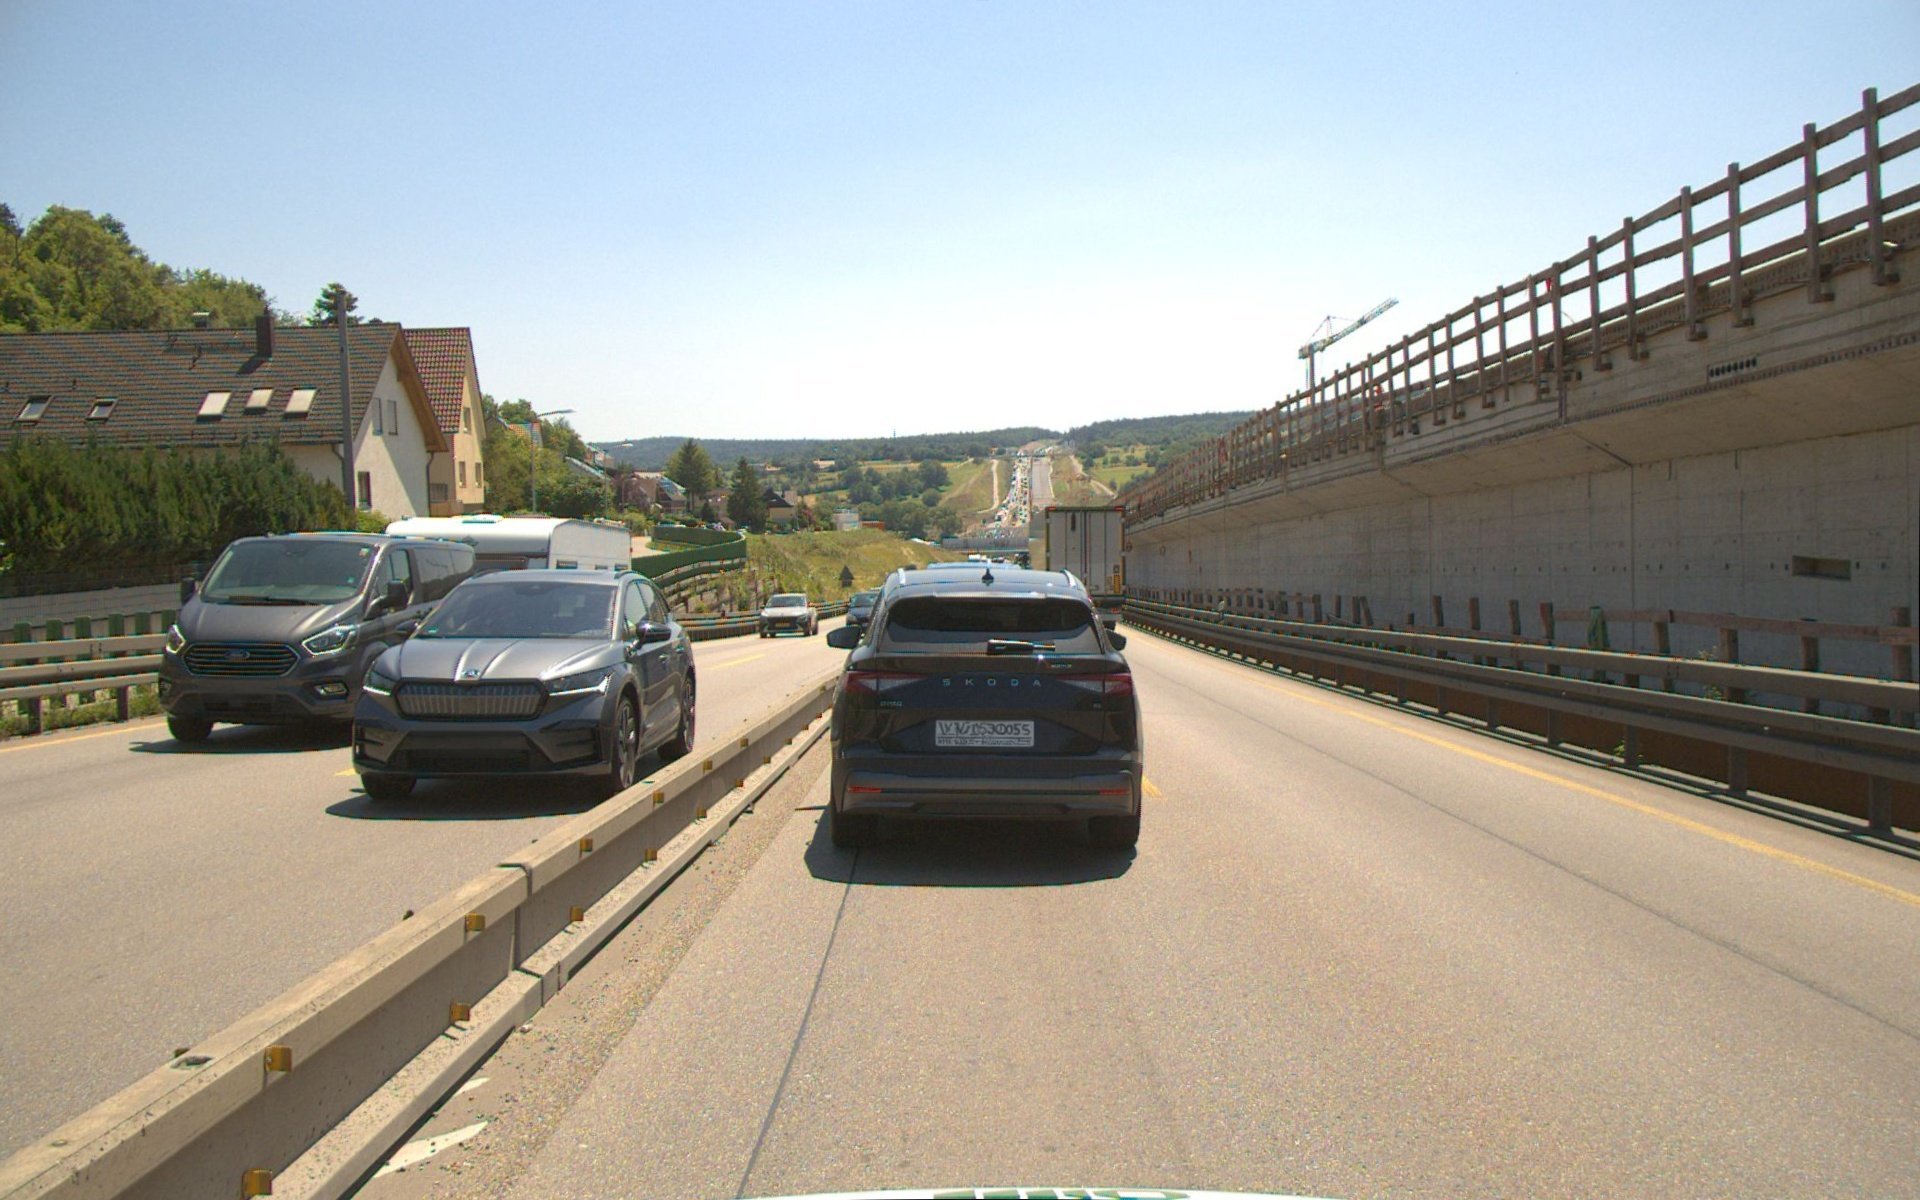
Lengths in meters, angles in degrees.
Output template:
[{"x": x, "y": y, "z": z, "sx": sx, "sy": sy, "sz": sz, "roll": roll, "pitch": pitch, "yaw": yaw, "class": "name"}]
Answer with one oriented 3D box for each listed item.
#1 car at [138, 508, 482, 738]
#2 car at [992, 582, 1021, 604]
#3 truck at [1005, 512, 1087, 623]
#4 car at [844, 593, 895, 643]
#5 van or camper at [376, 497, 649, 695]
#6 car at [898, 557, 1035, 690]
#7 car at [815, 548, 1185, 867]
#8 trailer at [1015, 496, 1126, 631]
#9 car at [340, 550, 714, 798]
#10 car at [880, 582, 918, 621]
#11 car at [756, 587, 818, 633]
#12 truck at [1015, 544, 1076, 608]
[{"x": -6.427, "y": 0.233, "z": 16.888, "sx": 1.953, "sy": 2.049, "sz": 3.999, "roll": 1, "pitch": -1, "yaw": -1, "class": "car"}, {"x": 3.548, "y": -0.511, "z": 125.697, "sx": 1.953, "sy": 1.613, "sz": 3.834, "roll": 1, "pitch": -1, "yaw": -2, "class": "car"}, {"x": 3.301, "y": -1.151, "z": 65.445, "sx": 2.463, "sy": 4.096, "sz": 8.233, "roll": 1, "pitch": -1, "yaw": -3, "class": "truck"}, {"x": -2.967, "y": 0.589, "z": 54.501, "sx": 1.515, "sy": 1.576, "sz": 3.237, "roll": 1, "pitch": -1, "yaw": -1, "class": "car"}, {"x": -6.420, "y": -0.012, "z": 24.708, "sx": 2.306, "sy": 2.560, "sz": 6.327, "roll": 1, "pitch": -1, "yaw": 0, "class": "van or camper"}, {"x": 0.023, "y": 0.313, "z": 25.945, "sx": 1.674, "sy": 1.914, "sz": 3.995, "roll": 1, "pitch": 1, "yaw": -7, "class": "car"}, {"x": 0.049, "y": 0.579, "z": 10.441, "sx": 1.807, "sy": 1.614, "sz": 3.901, "roll": 1, "pitch": -1, "yaw": -7, "class": "car"}, {"x": 3.658, "y": -1.073, "z": 57.555, "sx": 2.481, "sy": 4.199, "sz": 11.540, "roll": 1, "pitch": -1, "yaw": -3, "class": "trailer"}, {"x": -3.184, "y": 0.519, "z": 13.144, "sx": 1.834, "sy": 1.614, "sz": 4.478, "roll": 1, "pitch": -1, "yaw": -1, "class": "car"}, {"x": -2.535, "y": 0.070, "z": 69.531, "sx": 1.515, "sy": 1.576, "sz": 3.237, "roll": 1, "pitch": -1, "yaw": -1, "class": "car"}, {"x": -6.180, "y": 0.381, "z": 59.458, "sx": 1.805, "sy": 1.570, "sz": 4.176, "roll": 1, "pitch": -1, "yaw": -1, "class": "car"}, {"x": 4.680, "y": -1.216, "z": 92.892, "sx": 3.129, "sy": 3.247, "sz": 12.810, "roll": 0, "pitch": -1, "yaw": 2, "class": "truck"}]
